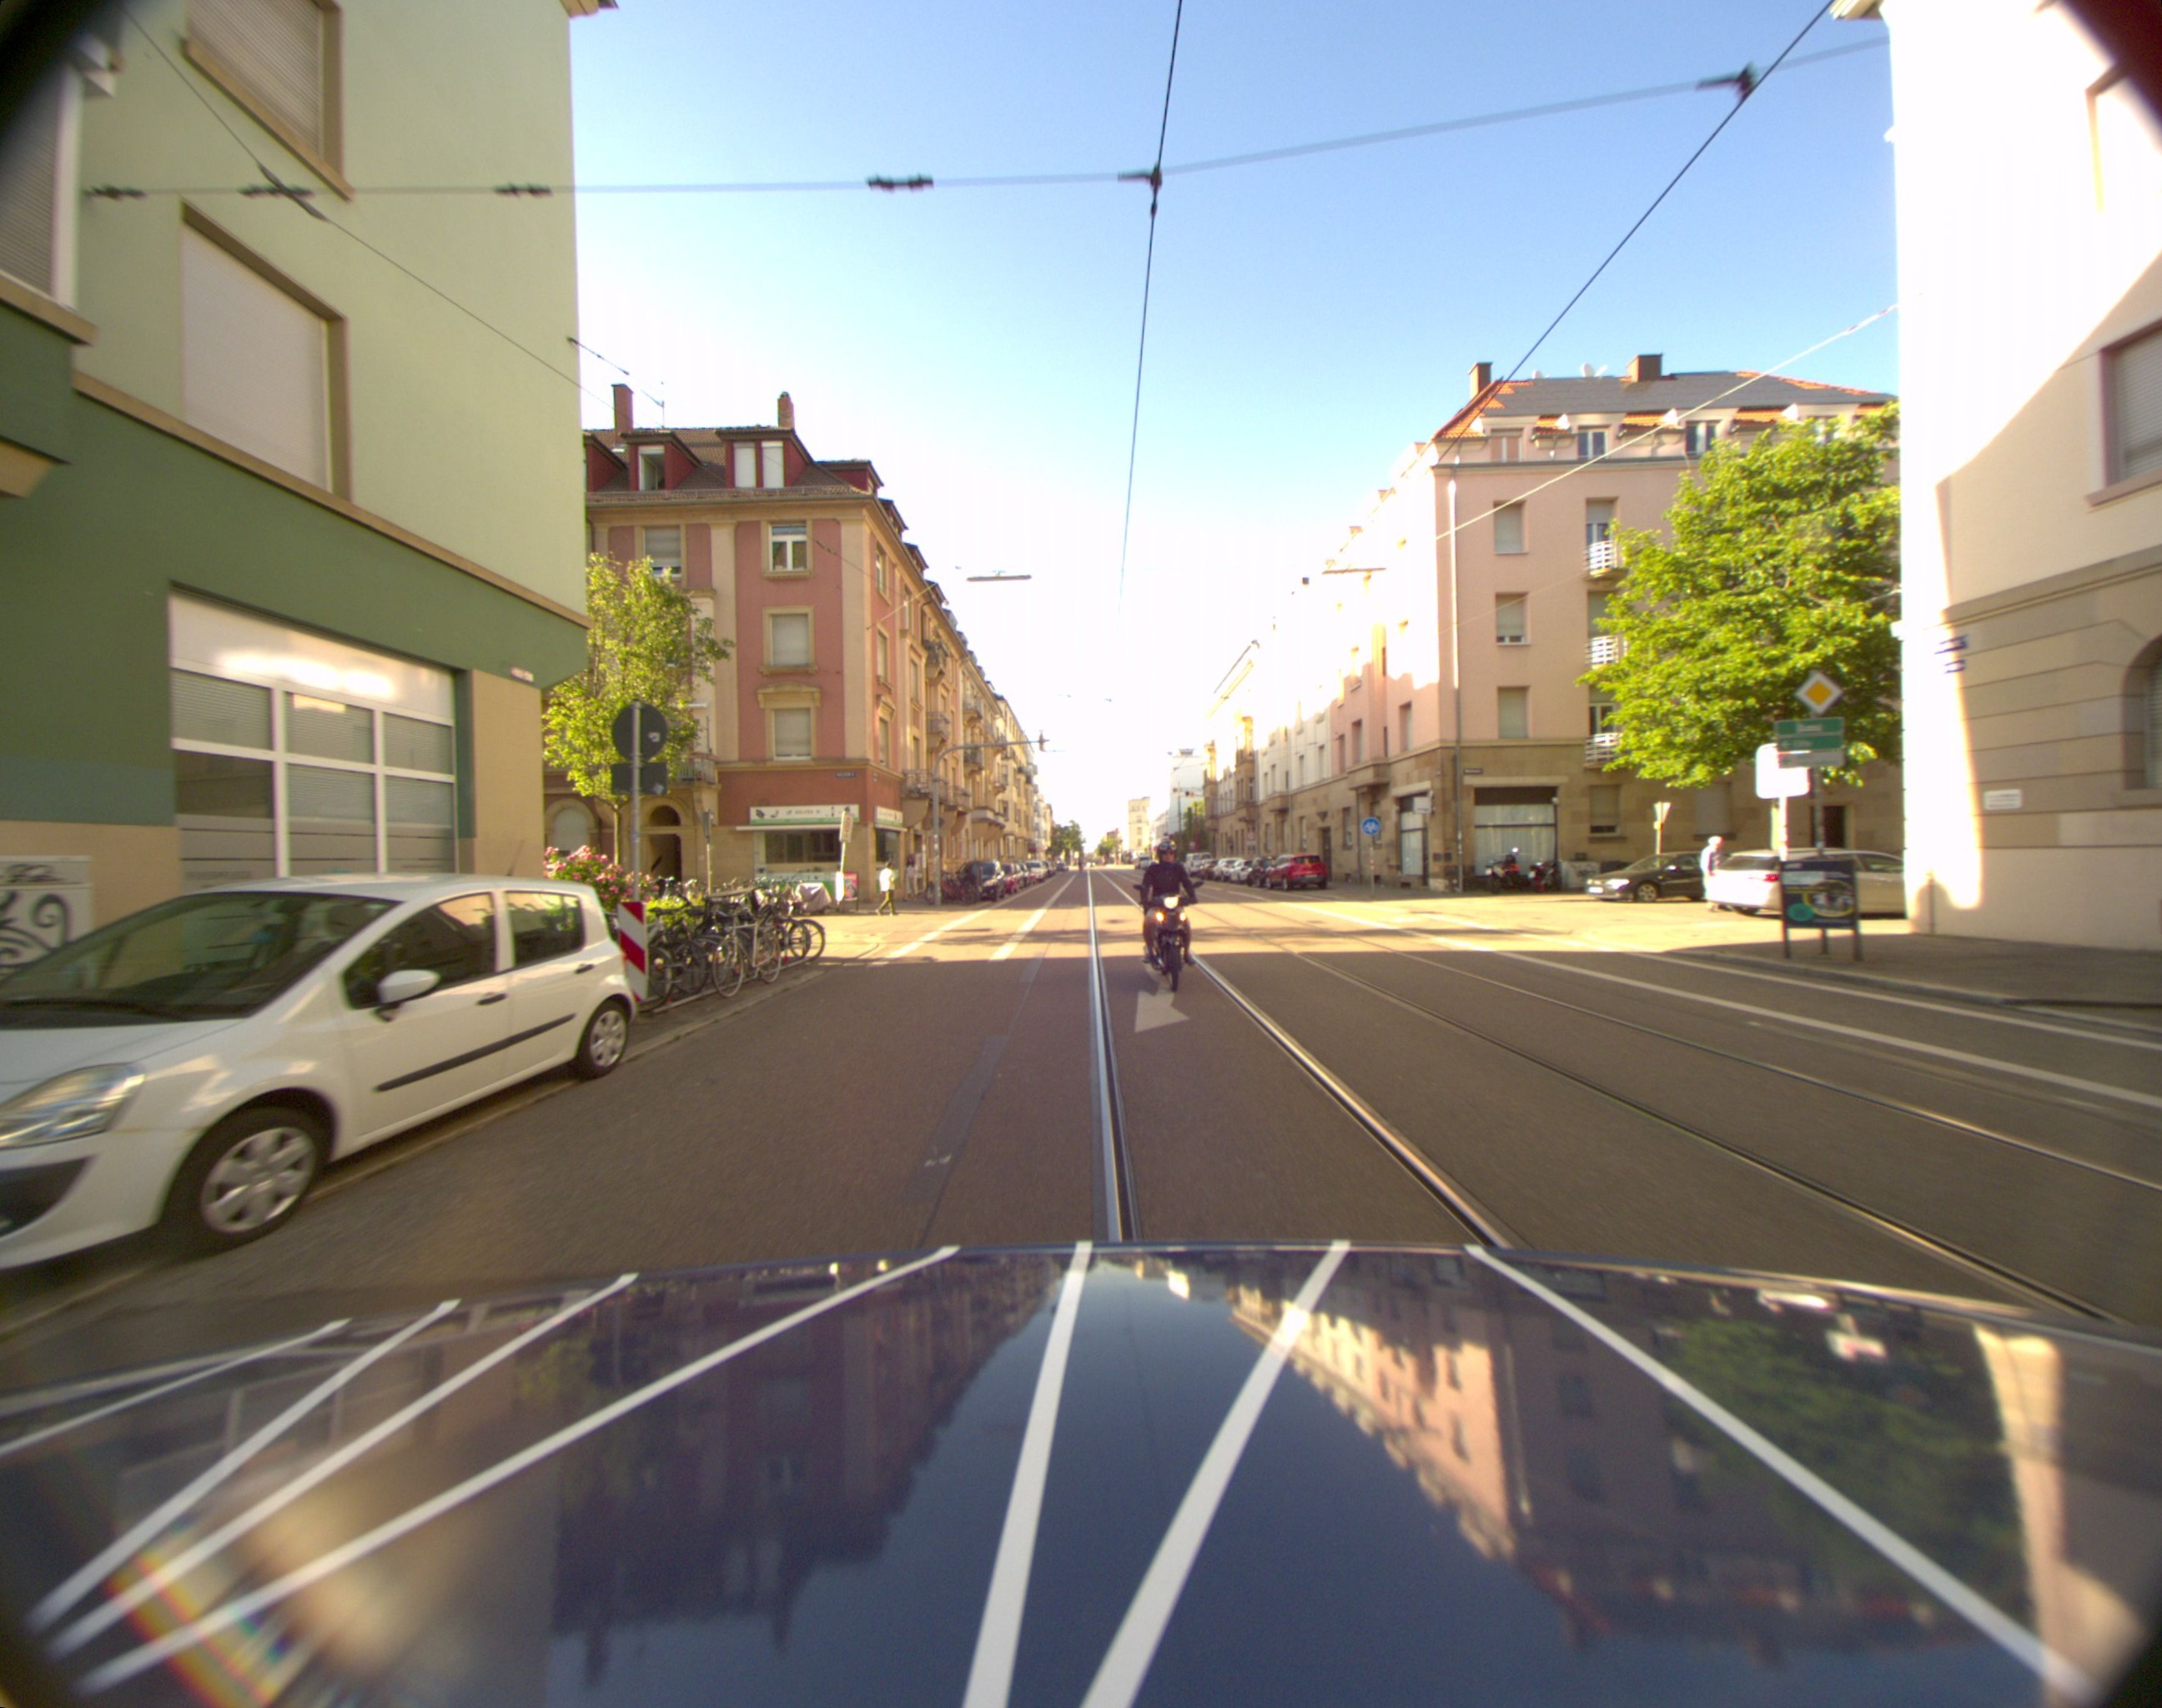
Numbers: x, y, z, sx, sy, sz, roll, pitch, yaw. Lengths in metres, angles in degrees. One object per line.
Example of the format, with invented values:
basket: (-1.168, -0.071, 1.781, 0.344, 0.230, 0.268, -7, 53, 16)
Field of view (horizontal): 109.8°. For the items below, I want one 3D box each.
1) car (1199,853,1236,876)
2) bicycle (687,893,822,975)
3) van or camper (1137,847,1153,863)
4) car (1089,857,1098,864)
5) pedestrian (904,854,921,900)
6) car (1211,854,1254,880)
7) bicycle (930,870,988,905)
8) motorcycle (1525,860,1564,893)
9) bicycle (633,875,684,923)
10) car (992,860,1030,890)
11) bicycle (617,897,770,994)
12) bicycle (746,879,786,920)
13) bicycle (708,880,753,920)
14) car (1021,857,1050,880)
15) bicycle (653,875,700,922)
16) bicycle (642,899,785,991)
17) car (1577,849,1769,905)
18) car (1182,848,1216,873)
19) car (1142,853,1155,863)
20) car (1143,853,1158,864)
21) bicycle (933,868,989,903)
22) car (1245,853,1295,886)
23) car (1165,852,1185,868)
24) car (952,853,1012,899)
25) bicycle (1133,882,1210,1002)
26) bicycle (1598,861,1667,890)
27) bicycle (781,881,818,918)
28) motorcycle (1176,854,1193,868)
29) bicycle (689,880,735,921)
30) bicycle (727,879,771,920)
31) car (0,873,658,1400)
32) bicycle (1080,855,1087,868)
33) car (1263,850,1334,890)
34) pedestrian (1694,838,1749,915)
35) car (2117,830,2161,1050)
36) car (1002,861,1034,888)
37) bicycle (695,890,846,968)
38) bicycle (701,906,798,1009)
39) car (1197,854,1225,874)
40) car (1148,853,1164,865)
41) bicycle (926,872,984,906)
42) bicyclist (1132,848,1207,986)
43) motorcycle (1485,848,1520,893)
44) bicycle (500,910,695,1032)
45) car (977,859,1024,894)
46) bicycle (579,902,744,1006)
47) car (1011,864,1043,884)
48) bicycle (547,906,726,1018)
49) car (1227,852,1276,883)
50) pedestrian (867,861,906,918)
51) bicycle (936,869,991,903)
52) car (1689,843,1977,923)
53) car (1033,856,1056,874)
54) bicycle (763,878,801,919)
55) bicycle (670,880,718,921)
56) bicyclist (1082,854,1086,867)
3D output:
car: (9.843, 0.739, 55.146, 1.788, 1.514, 4.360, -4, 0, 0)
bicycle: (-4.993, 1.211, 11.673, 1.847, 1.148, 0.469, 2, 1, 1)
van or camper: (10.912, 0.181, 129.608, 2.177, 2.453, 6.232, -4, 0, 0)
car: (3.045, 1.507, 183.305, 1.970, 1.577, 4.000, -2, 0, 1)
pedestrian: (-6.290, 0.857, 28.376, 0.514, 1.677, 0.448, -2, 1, 0)
car: (9.895, 0.819, 49.892, 1.776, 1.538, 4.365, -4, 0, -1)
bicycle: (-4.367, 1.190, 27.189, 1.964, 1.220, 0.527, 0, 1, 1)
motorcycle: (15.585, 0.729, 25.535, 2.039, 1.029, 0.555, -2, 0, -43)
bicycle: (-13.161, 1.384, 23.718, 0.545, 1.374, 1.728, -2, 0, 1)
car: (-3.885, 1.149, 42.811, 1.658, 1.504, 4.474, -2, 0, 1)
bicycle: (-5.017, 1.180, 9.888, 1.727, 1.148, 0.469, 2, 1, 1)
bicycle: (-9.788, 1.392, 23.662, 0.469, 1.148, 1.728, -2, 0, 1)
bicycle: (-10.896, 1.408, 23.664, 0.545, 1.148, 1.728, -2, 0, 1)
car: (-3.489, 1.087, 58.947, 1.847, 1.681, 4.505, -2, 0, 1)
bicycle: (-12.596, 1.366, 23.712, 0.491, 1.374, 1.728, -2, 0, 1)
bicycle: (-5.028, 1.233, 10.436, 1.727, 1.148, 0.469, 2, 1, 1)
car: (16.500, 0.633, 21.323, 3.997, 1.385, 1.748, -2, -1, 0)
car: (10.086, 0.564, 65.200, 1.978, 1.937, 5.251, -4, 0, 0)
car: (10.863, 0.616, 122.543, 1.787, 1.390, 4.445, -4, 0, 2)
car: (10.385, 0.715, 113.508, 1.788, 1.472, 4.699, -4, 0, 0)
bicycle: (-4.378, 1.145, 27.750, 1.964, 1.220, 0.527, 0, 1, 1)
car: (9.659, 0.768, 39.072, 1.787, 1.543, 3.019, -4, 0, 1)
car: (10.303, 0.662, 83.622, 1.787, 1.556, 4.611, -4, 0, 3)
car: (-4.015, 0.860, 31.546, 1.757, 1.725, 4.506, 2, 0, 1)
bicycle: (1.027, 0.975, 8.996, 0.767, 1.191, 1.752, -2, 0, 3)
bicycle: (18.536, 0.716, 25.562, 1.788, 0.927, 0.614, -2, 0, 9)
bicycle: (-8.778, 1.406, 23.763, 0.469, 1.043, 1.728, -2, 0, 1)
motorcycle: (10.487, 0.713, 76.962, 0.884, 1.343, 1.961, -2, 0, 33)
bicycle: (-11.466, 1.425, 23.673, 0.545, 1.148, 1.728, -2, 0, 1)
bicycle: (-10.323, 1.395, 23.671, 0.545, 1.148, 1.728, -2, 0, 1)
car: (-4.427, 0.995, 4.249, 1.788, 1.622, 4.000, -1, 0, 1)
bicycle: (0.331, 0.991, 100.811, 0.775, 1.700, 1.937, -2, 0, 0)
car: (9.702, 0.672, 34.245, 1.788, 1.597, 4.396, -4, 0, -1)
pedestrian: (14.682, 0.502, 17.432, 0.608, 1.702, 0.732, -2, 0, 0)
car: (9.213, 0.618, 3.727, 1.788, 1.680, 4.667, -4, 0, -1)
car: (-3.905, 1.246, 47.766, 1.658, 1.474, 4.474, -2, 0, 0)
bicycle: (-5.006, 1.202, 12.352, 2.091, 1.148, 0.848, 1, 0, 1)
bicycle: (-4.042, 1.222, 9.393, 0.353, 1.038, 1.728, -2, 0, 2)
car: (10.234, 0.781, 59.951, 1.606, 1.464, 3.646, -4, 0, 1)
car: (10.607, 0.698, 107.722, 1.787, 1.437, 4.842, -4, 0, 1)
bicycle: (-4.411, 1.237, 26.611, 1.928, 1.154, 0.527, 0, 1, 1)
bicyclist: (1.025, 0.710, 8.991, 0.774, 1.531, 0.939, -2, 1, 2)
motorcycle: (14.221, 0.532, 25.589, 0.948, 1.410, 2.029, -1, 0, 31)
bicycle: (-5.038, 1.210, 7.960, 1.727, 1.148, 0.469, 2, 1, 1)
car: (-3.971, 1.068, 38.069, 1.757, 1.585, 3.730, -2, 0, 2)
bicycle: (-5.064, 1.194, 9.208, 1.727, 1.148, 0.469, 2, 1, 1)
car: (-3.740, 1.363, 53.387, 1.658, 1.241, 4.505, -2, 0, 3)
bicycle: (-4.999, 1.200, 8.586, 1.727, 1.148, 0.469, 2, 1, 1)
car: (9.958, 0.740, 44.581, 1.788, 1.612, 4.179, -4, 0, -1)
pedestrian: (-5.820, 1.052, 22.730, 0.730, 1.624, 0.704, -3, 2, 35)
bicycle: (-4.376, 1.175, 28.322, 1.964, 1.220, 0.527, 0, 1, 1)
car: (15.629, 0.596, 15.964, 4.227, 1.456, 1.783, -2, -1, 0)
car: (-3.647, 1.039, 76.178, 1.863, 1.656, 4.562, -2, 0, 2)
bicycle: (-9.290, 1.364, 23.649, 0.469, 1.148, 1.728, -2, 0, 1)
bicycle: (-12.048, 1.436, 23.702, 0.545, 1.148, 1.728, -2, 0, 1)
bicyclist: (0.356, 0.802, 100.728, 0.509, 1.692, 0.845, -2, 0, 0)
